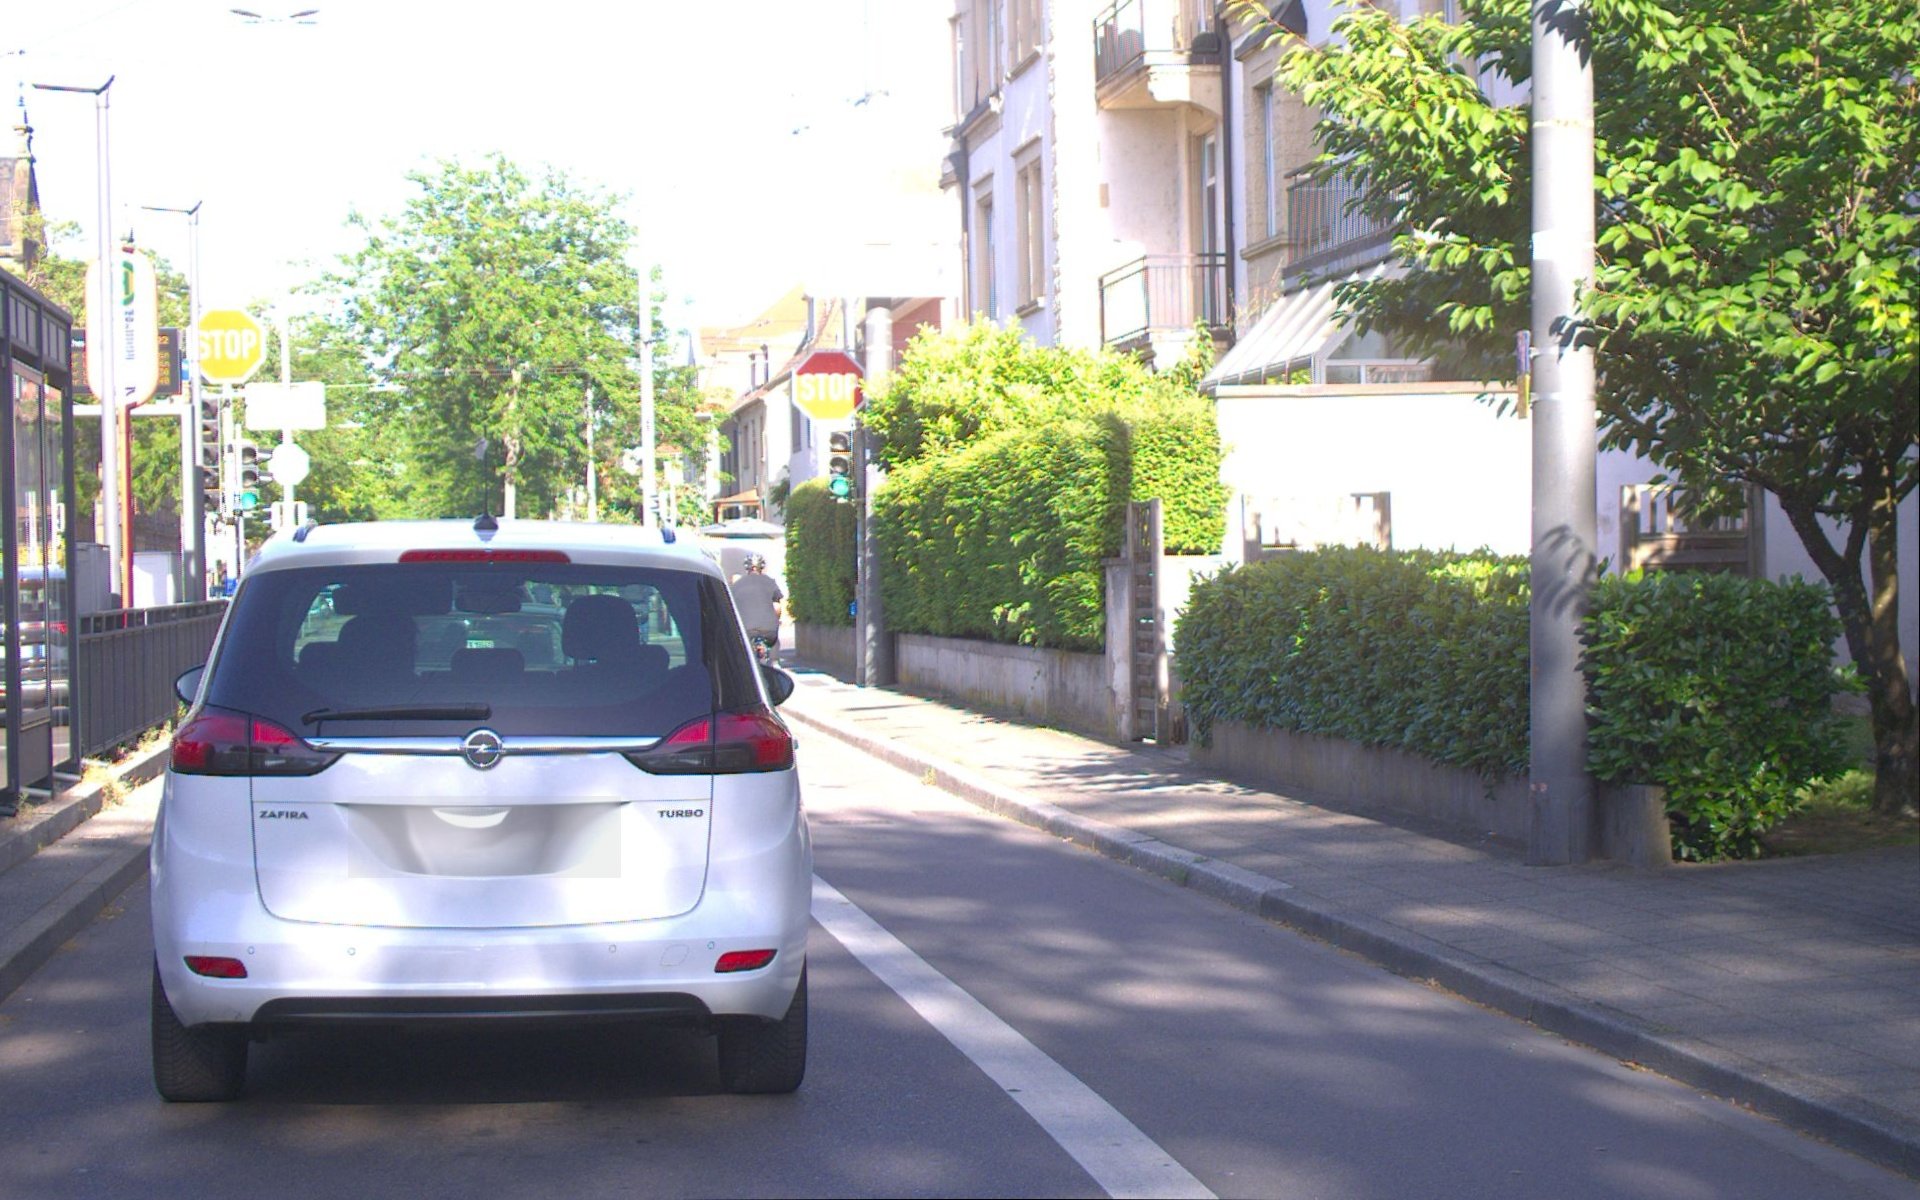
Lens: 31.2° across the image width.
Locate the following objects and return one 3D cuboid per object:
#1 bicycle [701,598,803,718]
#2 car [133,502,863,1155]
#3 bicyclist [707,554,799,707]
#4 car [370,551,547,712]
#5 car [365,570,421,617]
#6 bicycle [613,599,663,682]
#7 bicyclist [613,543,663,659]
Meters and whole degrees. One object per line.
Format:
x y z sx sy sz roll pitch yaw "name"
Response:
-2.093 0.563 34.380 0.829 1.150 2.095 -1 0 -9 "bicycle"
-1.422 0.568 10.729 1.834 1.636 3.919 -1 0 -7 "car"
-2.065 0.297 34.173 0.821 1.496 0.934 -1 0 -9 "bicyclist"
-5.391 0.319 37.063 1.775 1.626 3.881 -1 0 -8 "car"
-20.646 -0.244 125.341 1.775 1.687 3.881 -1 0 -6 "car"
-4.586 0.564 48.970 0.685 1.153 1.620 -1 0 -6 "bicycle"
-4.589 0.012 48.942 0.685 1.629 1.016 -1 0 -6 "bicyclist"
